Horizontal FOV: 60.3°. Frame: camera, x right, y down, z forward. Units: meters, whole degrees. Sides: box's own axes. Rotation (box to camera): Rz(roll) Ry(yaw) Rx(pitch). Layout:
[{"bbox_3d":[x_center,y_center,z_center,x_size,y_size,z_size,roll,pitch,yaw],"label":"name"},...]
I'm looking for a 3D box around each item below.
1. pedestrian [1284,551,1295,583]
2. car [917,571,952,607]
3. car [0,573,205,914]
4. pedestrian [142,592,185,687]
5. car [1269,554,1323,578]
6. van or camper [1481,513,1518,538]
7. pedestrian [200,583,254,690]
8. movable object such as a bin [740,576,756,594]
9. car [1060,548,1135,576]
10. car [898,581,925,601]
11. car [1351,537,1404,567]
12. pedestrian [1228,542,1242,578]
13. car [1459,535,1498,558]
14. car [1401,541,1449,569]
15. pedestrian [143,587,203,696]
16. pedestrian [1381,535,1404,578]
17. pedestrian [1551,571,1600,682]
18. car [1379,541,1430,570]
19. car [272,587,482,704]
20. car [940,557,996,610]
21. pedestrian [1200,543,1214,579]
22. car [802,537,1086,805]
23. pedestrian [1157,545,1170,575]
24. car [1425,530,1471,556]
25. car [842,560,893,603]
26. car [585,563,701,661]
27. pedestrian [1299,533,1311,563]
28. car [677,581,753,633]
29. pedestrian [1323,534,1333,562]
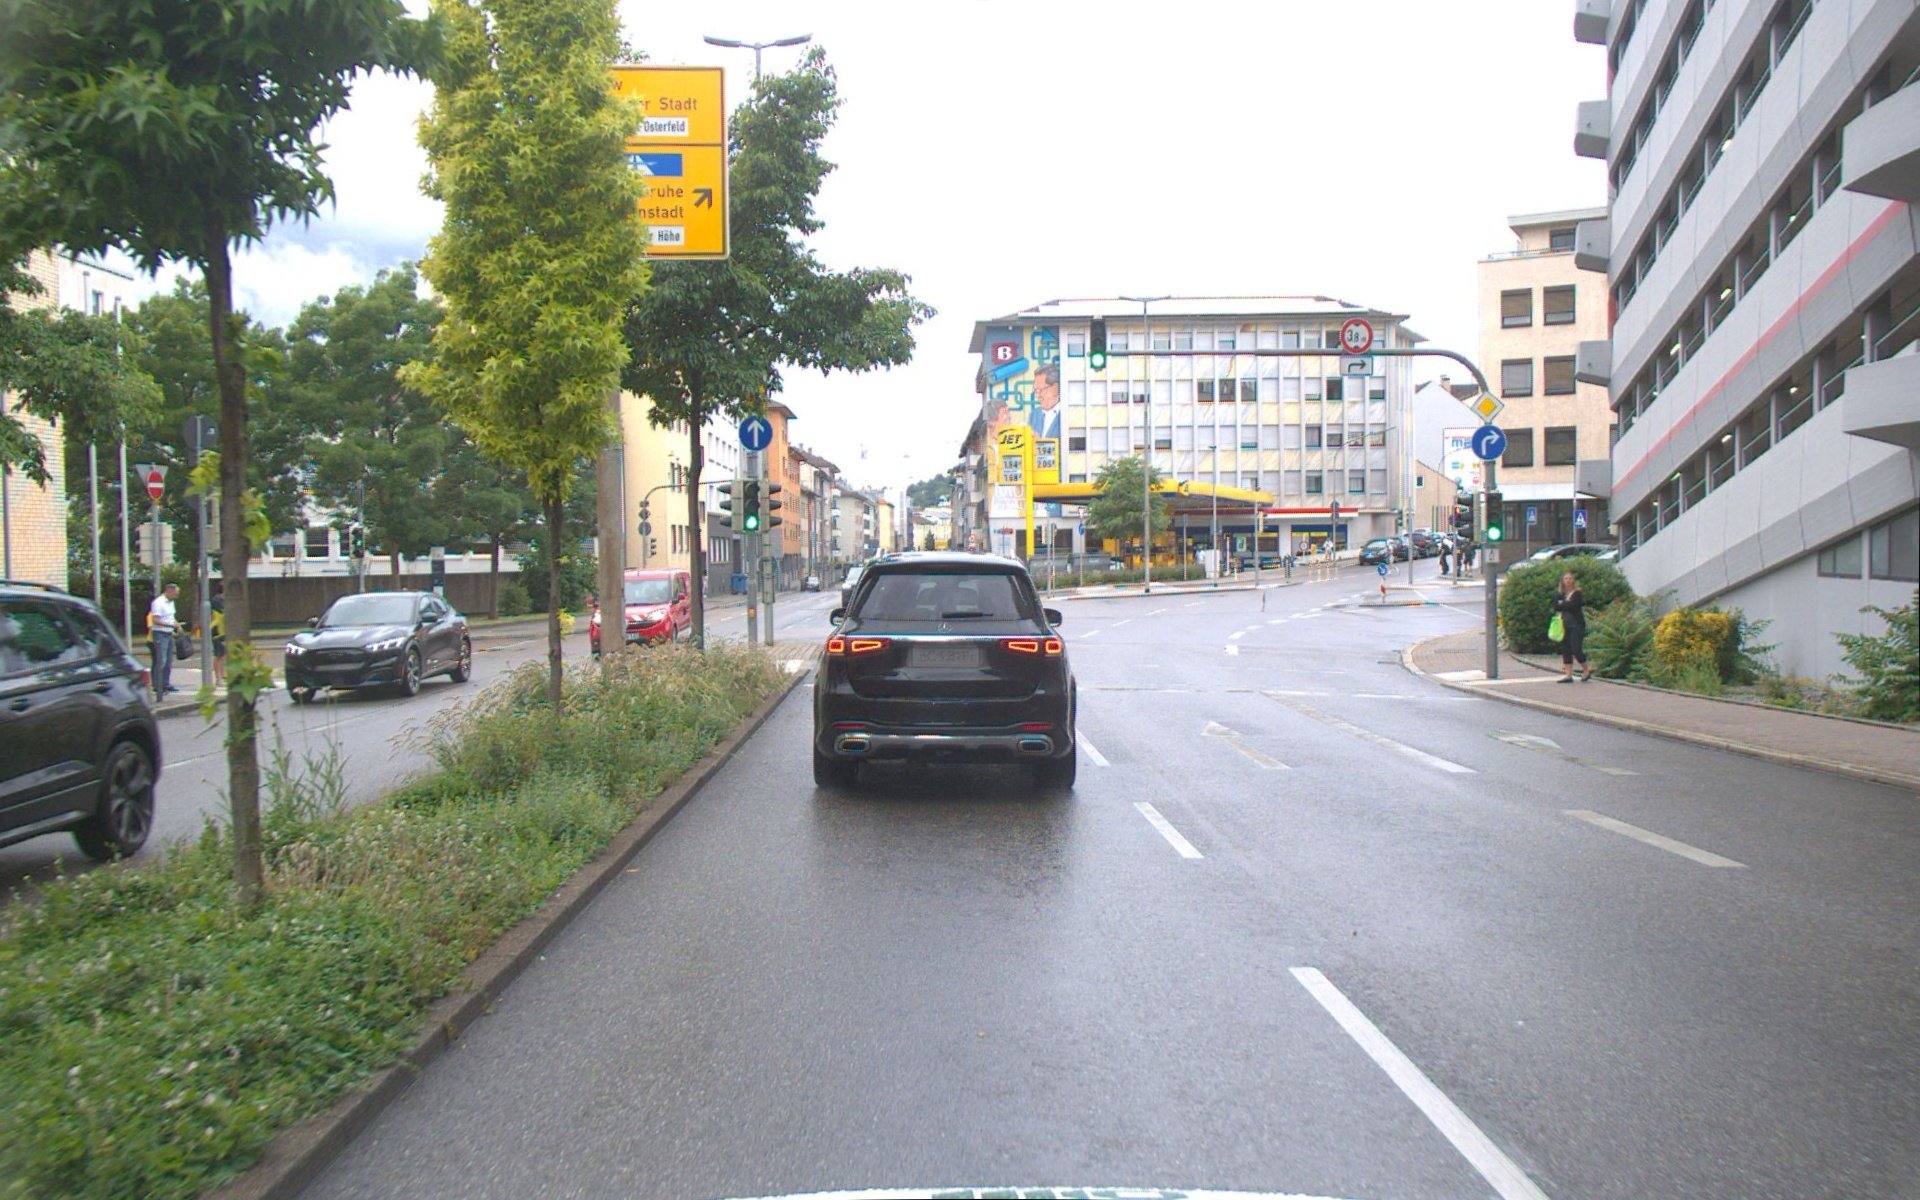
[{"bbox_3d":[14.840,-1.497,74.562,0.388,1.424,0.446,1,-1,0],"label":"pedestrian"},{"bbox_3d":[-1.530,-0.635,98.191,1.953,2.049,3.998,1,-1,-2],"label":"car"},{"bbox_3d":[-5.551,0.738,8.312,1.698,1.654,4.229,-3,0,-3],"label":"car"},{"bbox_3d":[-13.244,0.649,27.520,0.430,1.560,0.545,-1,1,-3],"label":"pedestrian"},{"bbox_3d":[22.194,-2.205,109.164,1.961,1.422,3.982,0,-1,38],"label":"car"},{"bbox_3d":[46.677,-6.411,143.004,1.958,2.013,4.502,-1,1,33],"label":"van or camper"},{"bbox_3d":[-12.533,0.617,28.276,0.675,1.788,0.716,-1,1,-12],"label":"pedestrian"},{"bbox_3d":[-13.052,-0.918,101.867,0.891,1.056,0.844,1,-1,0],"label":"movable object such as a bin"},{"bbox_3d":[7.428,-2.071,89.569,1.724,1.400,3.935,-2,1,-44],"label":"car"},{"bbox_3d":[-3.962,-0.728,135.929,1.952,1.574,4.190,1,-1,2],"label":"car"},{"bbox_3d":[25.255,-2.924,99.958,1.958,1.735,3.990,-1,1,33],"label":"car"},{"bbox_3d":[13.478,-1.973,81.163,0.560,1.727,0.631,1,-1,0],"label":"pedestrian"},{"bbox_3d":[40.384,-4.154,128.744,1.958,1.735,3.990,-1,1,33],"label":"car"},{"bbox_3d":[30.541,-2.980,108.515,1.958,1.735,3.990,-1,1,33],"label":"car"},{"bbox_3d":[-12.464,0.650,26.219,0.599,1.685,0.691,-1,1,-3],"label":"pedestrian"},{"bbox_3d":[22.097,-2.204,84.502,0.838,2.165,0.947,-2,1,-7],"label":"pedestrian"},{"bbox_3d":[9.822,0.422,26.409,0.634,1.740,0.470,0,-1,35],"label":"pedestrian"},{"bbox_3d":[28.057,-2.832,104.265,1.958,1.735,3.990,-1,1,33],"label":"car"},{"bbox_3d":[-9.226,0.660,26.605,1.851,1.614,4.535,-3,0,-2],"label":"car"},{"bbox_3d":[0.270,-0.583,60.589,1.953,1.832,3.999,1,-1,-1],"label":"car"},{"bbox_3d":[12.381,-1.959,82.808,0.515,1.757,0.688,0,1,26],"label":"pedestrian"},{"bbox_3d":[-0.138,0.515,13.545,1.953,1.832,3.999,1,-1,-1],"label":"car"},{"bbox_3d":[11.920,-2.344,96.793,0.516,1.757,0.688,0,1,29],"label":"pedestrian"},{"bbox_3d":[33.510,-3.914,113.578,1.958,1.735,3.990,-1,1,33],"label":"car"},{"bbox_3d":[-3.793,-0.746,68.409,1.953,1.642,4.188,1,-1,-1],"label":"car"},{"bbox_3d":[-6.790,0.226,35.891,1.757,1.886,4.790,-3,0,-3],"label":"car"},{"bbox_3d":[20.466,-3.103,98.030,0.515,1.757,0.688,0,1,26],"label":"pedestrian"},{"bbox_3d":[-7.795,0.175,52.948,1.809,1.454,4.434,-3,1,-1],"label":"car"},{"bbox_3d":[21.813,-3.069,98.090,0.474,1.669,0.438,0,-1,28],"label":"pedestrian"}]
